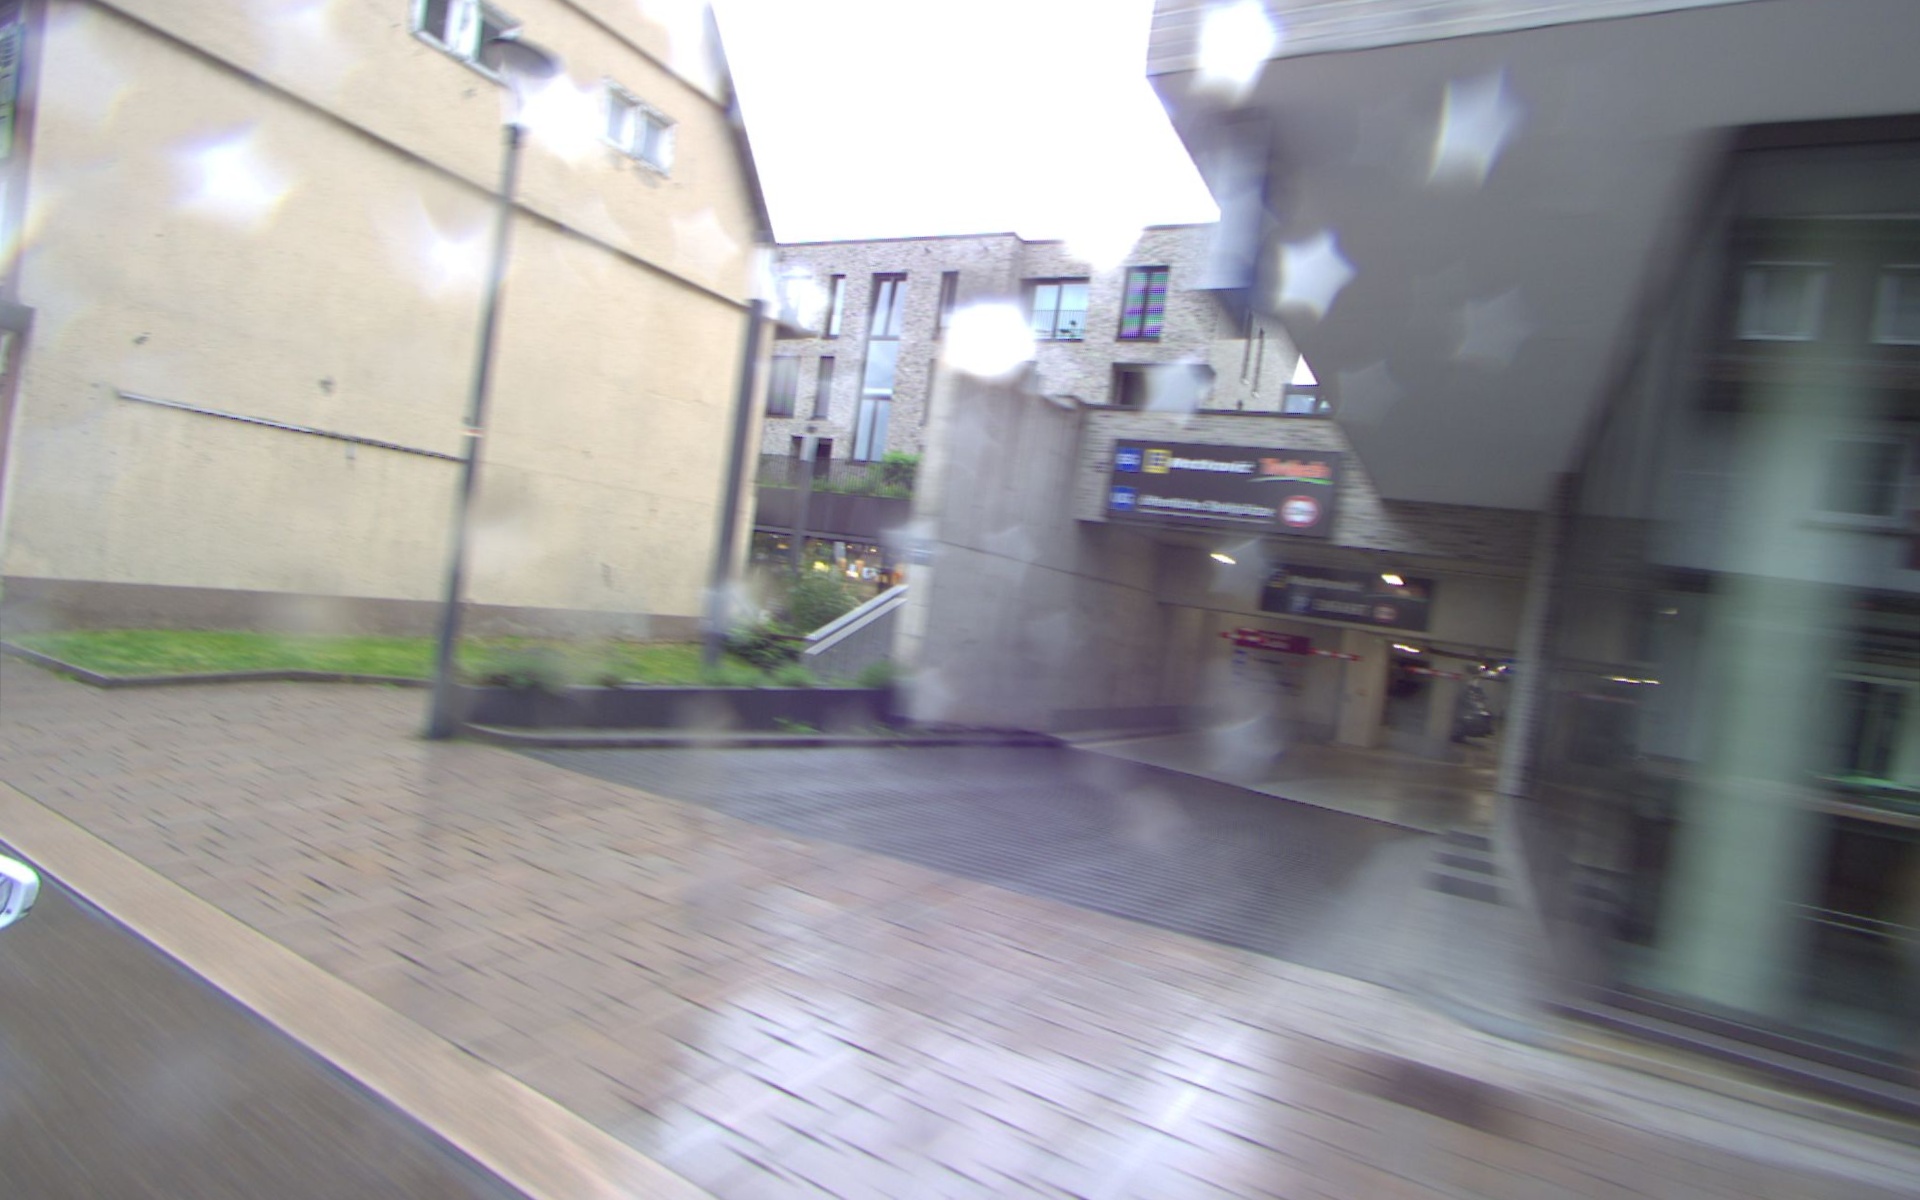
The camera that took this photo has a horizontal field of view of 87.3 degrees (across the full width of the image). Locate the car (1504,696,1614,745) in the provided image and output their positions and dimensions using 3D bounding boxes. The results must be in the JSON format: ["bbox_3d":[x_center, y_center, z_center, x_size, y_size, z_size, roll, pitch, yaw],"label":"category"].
[{"bbox_3d":[28.460,5.699,47.896,3.924,1.639,1.890,7,2,3],"label":"car"}]
